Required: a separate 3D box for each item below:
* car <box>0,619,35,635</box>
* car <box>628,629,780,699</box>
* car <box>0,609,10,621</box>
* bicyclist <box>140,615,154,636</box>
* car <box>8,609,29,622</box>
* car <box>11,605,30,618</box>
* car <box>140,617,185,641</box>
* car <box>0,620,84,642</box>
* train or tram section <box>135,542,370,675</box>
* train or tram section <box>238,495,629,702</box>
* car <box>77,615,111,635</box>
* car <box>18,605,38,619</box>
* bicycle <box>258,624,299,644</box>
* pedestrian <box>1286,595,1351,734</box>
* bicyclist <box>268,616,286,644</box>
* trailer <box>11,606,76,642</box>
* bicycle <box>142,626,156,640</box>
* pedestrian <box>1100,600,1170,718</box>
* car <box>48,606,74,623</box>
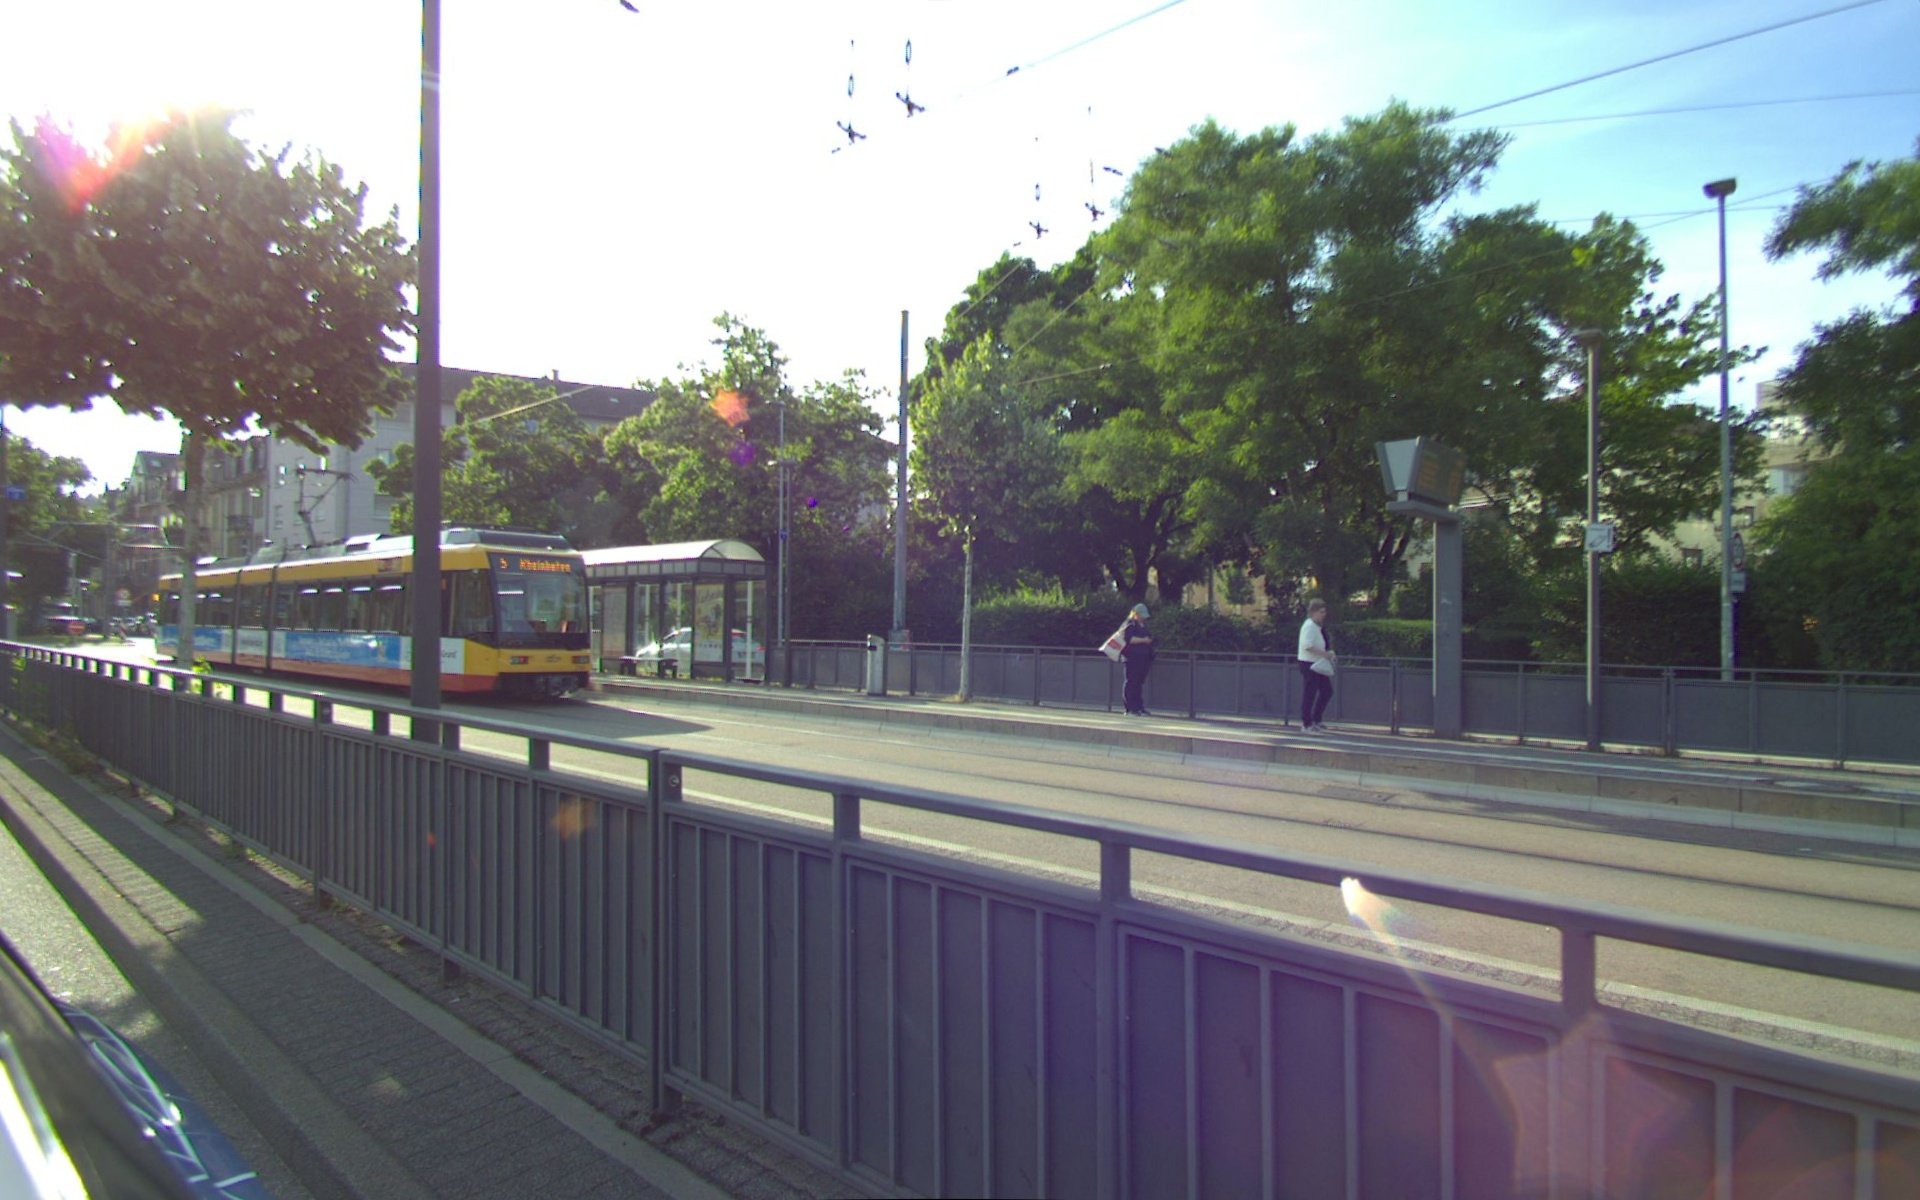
[{"bbox_3d":[-86.128,2.440,90.740,4.205,1.433,2.175,0,-1,-7],"label":"car"},{"bbox_3d":[-6.833,1.621,26.822,3.997,1.697,1.973,-1,-1,41],"label":"car"},{"bbox_3d":[-166.599,2.597,175.753,3.998,2.029,1.973,-1,-2,41],"label":"car"},{"bbox_3d":[-57.824,1.808,71.980,0.717,1.424,0.643,-2,-2,44],"label":"bicyclist"},{"bbox_3d":[-150.727,2.417,162.005,3.998,2.029,1.973,-1,-2,41],"label":"car"},{"bbox_3d":[-141.596,1.750,152.464,1.970,2.029,4.002,1,-2,-45],"label":"car"},{"bbox_3d":[-61.882,2.253,78.493,4.719,1.763,2.141,-1,-2,44],"label":"car"},{"bbox_3d":[-60.669,2.054,66.818,3.888,1.370,1.676,1,-2,-11],"label":"car"},{"bbox_3d":[-23.422,0.368,32.902,14.529,3.506,3.128,-1,-2,42],"label":"train or tram section"},{"bbox_3d":[-12.761,0.114,23.170,14.468,3.506,3.128,-1,-2,42],"label":"train or tram section"},{"bbox_3d":[-86.218,2.504,100.713,4.612,1.915,2.141,-1,-2,44],"label":"car"},{"bbox_3d":[-133.327,1.697,144.770,1.970,2.029,4.002,1,-2,-45],"label":"car"},{"bbox_3d":[-39.775,2.002,59.097,1.883,1.119,0.737,1,-2,-27],"label":"bicycle"},{"bbox_3d":[4.409,0.782,12.430,0.606,1.654,0.576,-2,-4,37],"label":"pedestrian"},{"bbox_3d":[-39.853,1.744,59.029,0.760,1.655,0.797,1,-2,-28],"label":"bicyclist"},{"bbox_3d":[-62.535,1.624,69.110,2.817,2.410,1.728,0,-2,-17],"label":"trailer"},{"bbox_3d":[-57.597,2.341,71.843,0.535,1.026,2.251,1,-2,-45],"label":"bicycle"},{"bbox_3d":[2.558,0.844,14.754,0.860,1.654,0.660,-1,-1,25],"label":"pedestrian"},{"bbox_3d":[-110.303,1.840,124.128,3.999,2.029,1.972,-1,-2,42],"label":"car"}]
